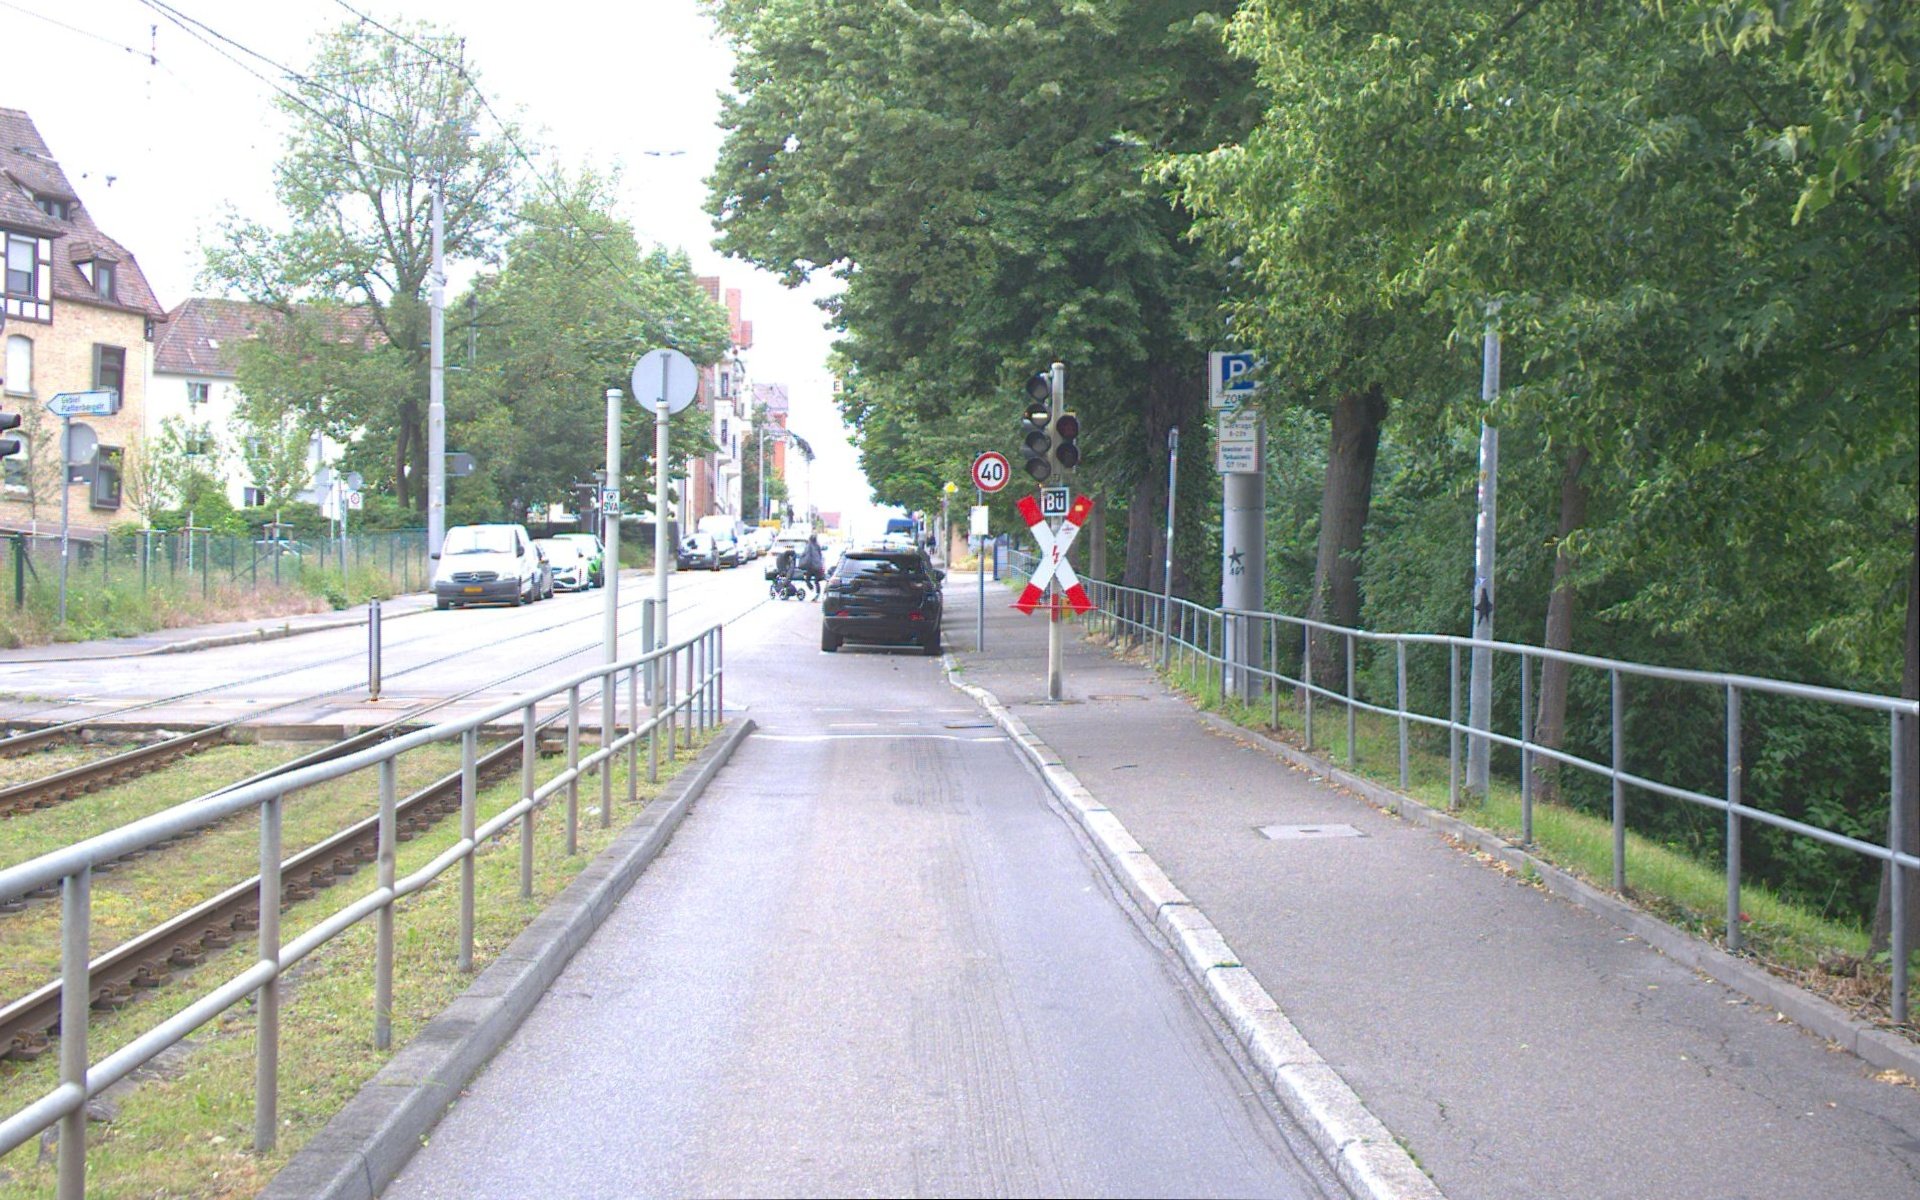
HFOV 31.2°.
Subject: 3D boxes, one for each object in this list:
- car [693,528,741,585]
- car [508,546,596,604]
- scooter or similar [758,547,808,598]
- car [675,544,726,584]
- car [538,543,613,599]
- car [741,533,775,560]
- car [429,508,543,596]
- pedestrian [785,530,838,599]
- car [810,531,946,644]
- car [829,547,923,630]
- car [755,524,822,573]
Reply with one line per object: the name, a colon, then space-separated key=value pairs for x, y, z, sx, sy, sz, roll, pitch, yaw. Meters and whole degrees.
car: x=-12.277 y=-2.168 z=174.034 sx=2.230 sy=2.755 sz=5.800 roll=1 pitch=0 yaw=-3
car: x=-11.052 y=-0.684 z=93.291 sx=1.885 sy=1.521 sz=4.664 roll=-1 pitch=1 yaw=-1
scooter or similar: x=-4.211 y=-0.667 z=81.932 sx=0.838 sy=1.192 sz=0.805 roll=1 pitch=0 yaw=41
car: x=-12.013 y=-1.658 z=159.545 sx=1.993 sy=1.802 sz=4.000 roll=1 pitch=0 yaw=1
car: x=-11.065 y=-0.841 z=99.078 sx=1.723 sy=1.574 sz=4.181 roll=0 pitch=1 yaw=0
car: x=-12.782 y=-3.395 z=217.872 sx=1.924 sy=1.596 sz=4.000 roll=1 pitch=0 yaw=0
car: x=-10.859 y=-1.075 z=79.062 sx=2.035 sy=1.875 sz=4.885 roll=-2 pitch=0 yaw=-2
pedestrian: x=-3.525 y=-0.843 z=81.466 sx=0.915 sy=1.623 sz=0.805 roll=1 pitch=0 yaw=41
car: x=-1.225 y=-0.216 z=53.144 sx=1.904 sy=1.609 sz=4.600 roll=2 pitch=1 yaw=1
car: x=-1.812 y=-0.284 z=75.149 sx=1.877 sy=1.672 sz=5.063 roll=3 pitch=1 yaw=0
car: x=-5.494 y=-1.648 z=110.462 sx=1.993 sy=1.493 sz=4.312 roll=1 pitch=0 yaw=-1
